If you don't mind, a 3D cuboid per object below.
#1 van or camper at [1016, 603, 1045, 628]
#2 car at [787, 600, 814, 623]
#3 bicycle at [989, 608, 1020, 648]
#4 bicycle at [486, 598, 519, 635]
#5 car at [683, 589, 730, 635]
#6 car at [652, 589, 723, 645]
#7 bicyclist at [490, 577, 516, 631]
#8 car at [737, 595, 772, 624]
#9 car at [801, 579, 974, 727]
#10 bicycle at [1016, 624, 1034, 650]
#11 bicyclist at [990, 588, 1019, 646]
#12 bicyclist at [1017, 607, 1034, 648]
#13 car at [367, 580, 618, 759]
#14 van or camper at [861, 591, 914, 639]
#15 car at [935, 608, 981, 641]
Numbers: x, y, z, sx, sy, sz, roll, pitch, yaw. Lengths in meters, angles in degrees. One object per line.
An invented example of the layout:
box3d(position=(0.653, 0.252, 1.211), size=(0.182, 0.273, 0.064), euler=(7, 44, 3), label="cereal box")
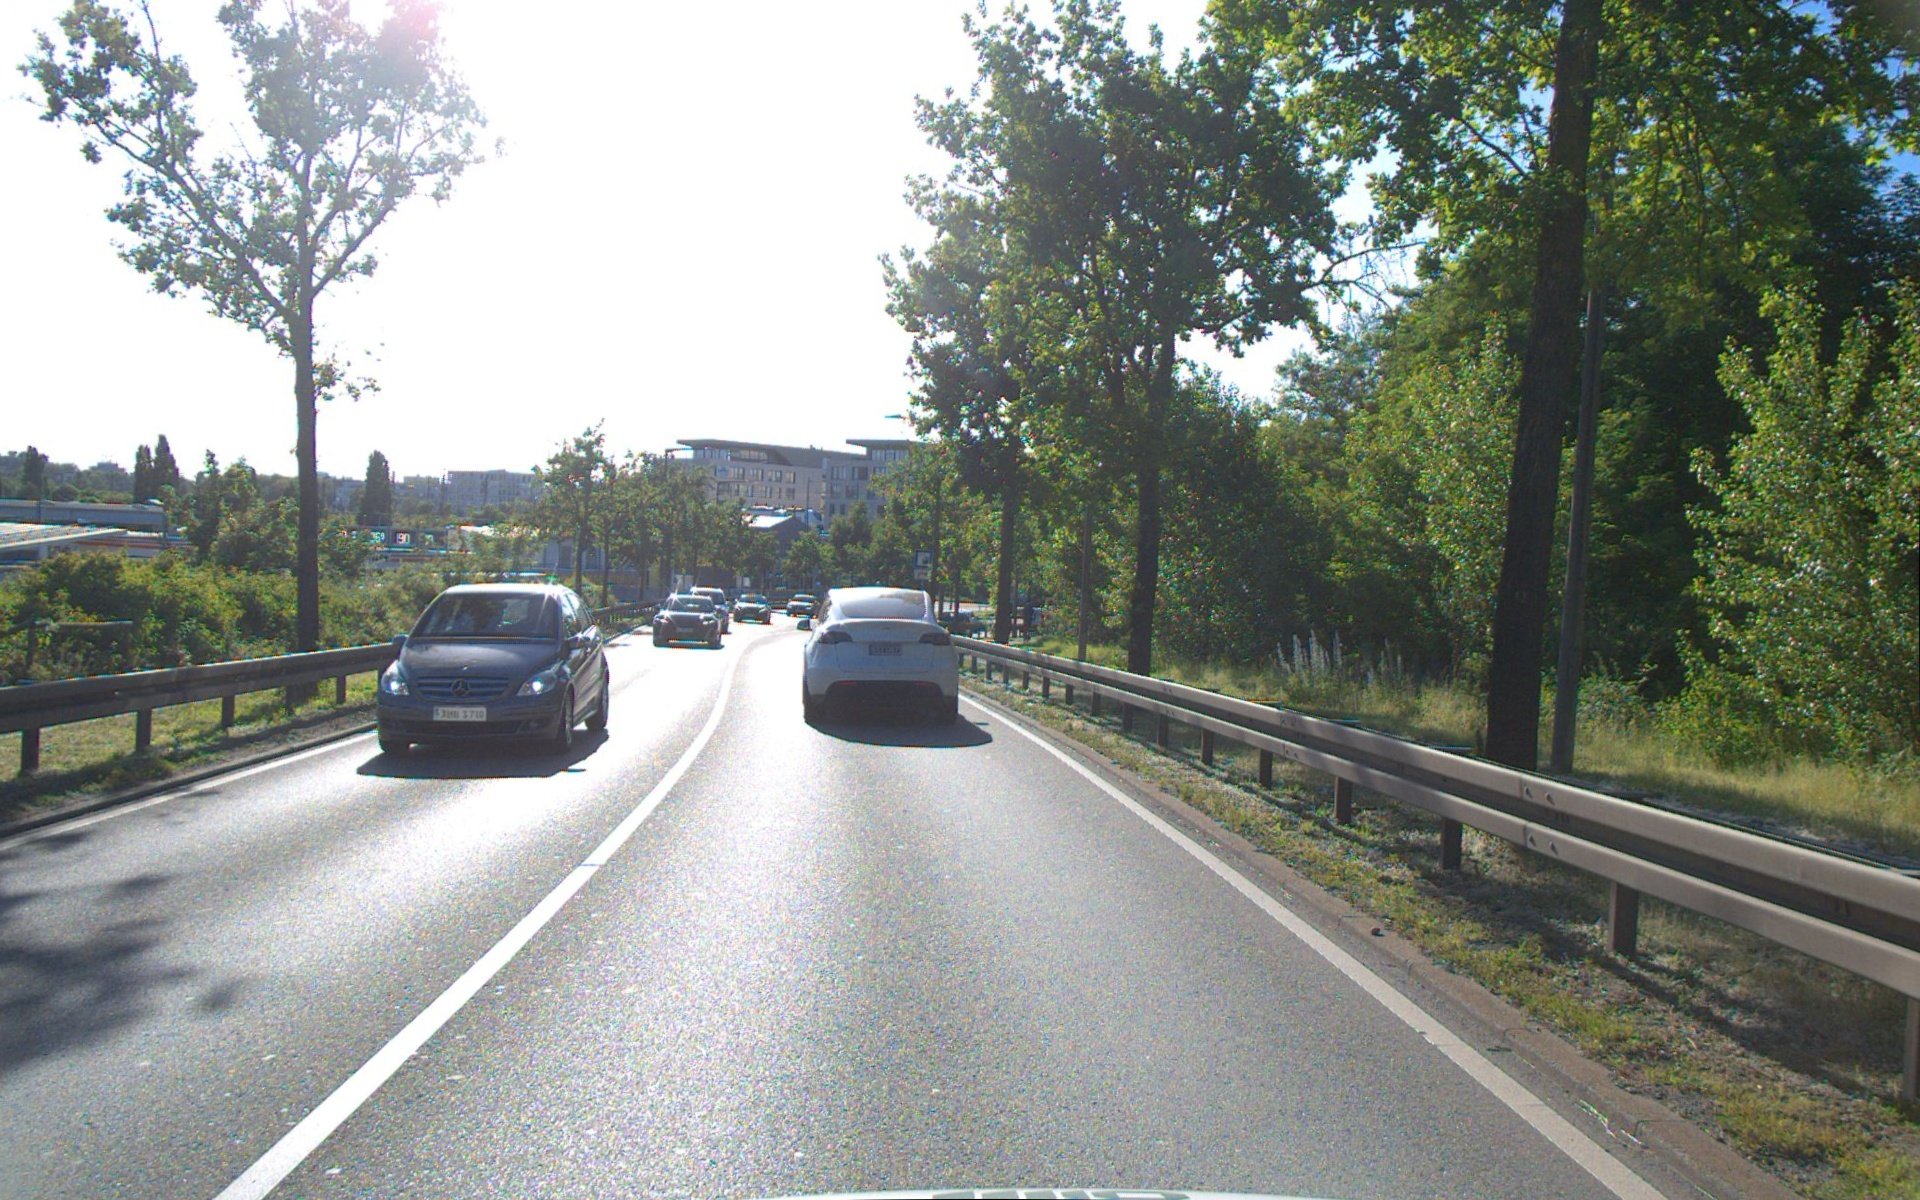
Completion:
box3d(position=(5.948, 1.267, 138.944), size=(1.787, 1.821, 4.549), euler=(4, 2, 9), label="van or camper")
box3d(position=(-11.048, 0.768, 114.773), size=(1.774, 1.523, 4.365), euler=(1, 0, -5), label="car")
box3d(position=(1.282, 0.820, 47.262), size=(0.686, 1.093, 1.922), euler=(1, -2, 7), label="bicycle")
box3d(position=(-14.164, 0.496, 51.226), size=(0.648, 1.114, 2.105), euler=(1, 0, -7), label="bicycle")
box3d(position=(-9.851, 0.433, 64.511), size=(1.696, 1.687, 3.975), euler=(1, 0, -8), label="car")
box3d(position=(-7.954, 0.474, 48.586), size=(1.814, 1.518, 4.709), euler=(1, 0, -7), label="car")
box3d(position=(-14.166, 0.131, 51.293), size=(0.639, 1.652, 0.873), euler=(1, 0, -7), label="bicyclist")
box3d(position=(-10.899, 0.468, 87.773), size=(1.658, 1.466, 4.211), euler=(1, 0, -5), label="car")
box3d(position=(-1.046, 0.607, 21.329), size=(1.877, 1.669, 4.404), euler=(1, 0, -7), label="car")
box3d(position=(2.928, 1.644, 74.076), size=(0.680, 1.114, 2.119), euler=(1, 0, 5), label="bicycle")
box3d(position=(1.285, 0.493, 47.208), size=(0.692, 1.606, 1.005), euler=(1, -2, 7), label="bicyclist")
box3d(position=(2.927, 1.213, 74.084), size=(0.661, 1.807, 0.949), euler=(1, 0, 5), label="bicyclist")
box3d(position=(-4.630, 0.619, 16.964), size=(1.774, 1.581, 4.135), euler=(1, 0, -6), label="car")
box3d(position=(-3.048, 0.603, 70.250), size=(1.918, 1.917, 4.880), euler=(1, 0, 0), label="van or camper")
box3d(position=(-0.067, 1.281, 88.718), size=(1.570, 1.459, 3.682), euler=(4, 3, 13), label="car")
